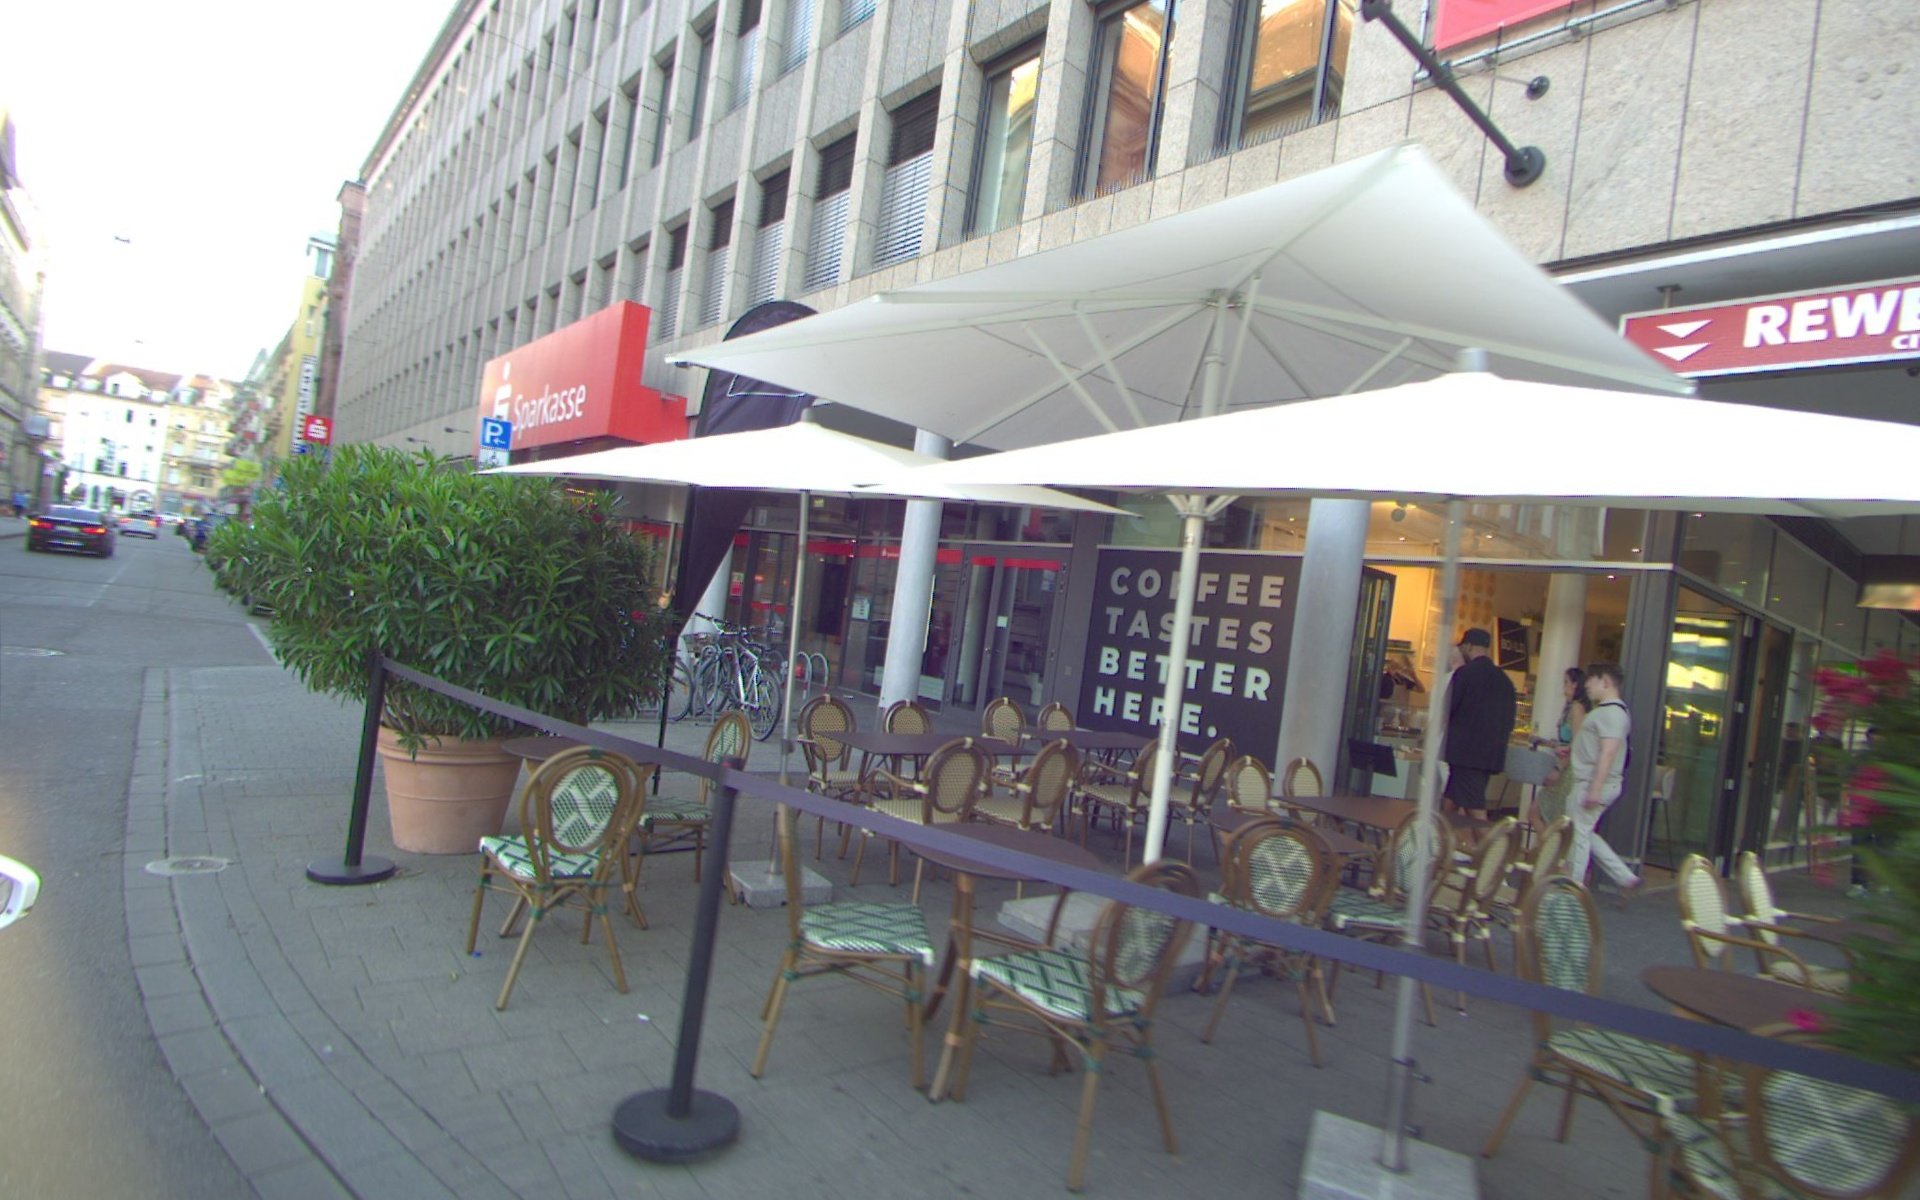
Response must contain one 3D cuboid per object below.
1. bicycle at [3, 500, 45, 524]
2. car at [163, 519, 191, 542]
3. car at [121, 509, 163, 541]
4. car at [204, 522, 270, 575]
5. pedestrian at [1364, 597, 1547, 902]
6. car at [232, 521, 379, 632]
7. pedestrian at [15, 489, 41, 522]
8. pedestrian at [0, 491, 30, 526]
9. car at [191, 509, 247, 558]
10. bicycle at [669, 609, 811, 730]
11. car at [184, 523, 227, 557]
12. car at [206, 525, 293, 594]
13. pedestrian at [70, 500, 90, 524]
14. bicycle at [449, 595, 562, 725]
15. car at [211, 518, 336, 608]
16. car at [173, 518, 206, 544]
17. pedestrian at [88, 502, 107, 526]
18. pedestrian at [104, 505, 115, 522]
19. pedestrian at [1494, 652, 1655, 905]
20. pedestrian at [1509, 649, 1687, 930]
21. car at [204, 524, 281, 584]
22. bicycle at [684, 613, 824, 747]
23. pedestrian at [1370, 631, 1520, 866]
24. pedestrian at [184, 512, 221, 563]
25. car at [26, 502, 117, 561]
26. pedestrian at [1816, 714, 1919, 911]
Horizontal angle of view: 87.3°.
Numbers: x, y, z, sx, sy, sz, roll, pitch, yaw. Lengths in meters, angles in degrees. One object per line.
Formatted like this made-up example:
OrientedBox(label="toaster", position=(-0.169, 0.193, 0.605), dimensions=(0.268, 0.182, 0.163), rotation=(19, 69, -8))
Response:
OrientedBox(label="bicycle", position=(-56.338, -5.286, 60.564), dimensions=(1.675, 1.052, 0.482), rotation=(13, -4, -38))
OrientedBox(label="car", position=(-64.968, -5.779, 83.439), dimensions=(1.639, 1.539, 3.249), rotation=(11, -3, -39))
OrientedBox(label="car", position=(-49.019, -4.495, 60.292), dimensions=(1.788, 1.528, 3.956), rotation=(9, -2, -40))
OrientedBox(label="car", position=(-26.640, -1.916, 37.023), dimensions=(1.639, 1.539, 3.249), rotation=(11, -3, -39))
OrientedBox(label="pedestrian", position=(3.606, 1.062, 7.329), dimensions=(0.777, 2.038, 0.681), rotation=(8, 1, -38))
OrientedBox(label="car", position=(-12.693, -0.506, 19.405), dimensions=(1.764, 1.654, 4.008), rotation=(11, -3, -39))
OrientedBox(label="pedestrian", position=(-55.874, -5.654, 60.313), dimensions=(0.805, 1.770, 0.926), rotation=(12, -4, -40))
OrientedBox(label="pedestrian", position=(-50.259, -4.834, 53.457), dimensions=(0.931, 1.653, 0.647), rotation=(12, -4, -41))
OrientedBox(label="car", position=(-36.836, -3.310, 49.969), dimensions=(1.864, 2.040, 3.725), rotation=(11, -3, -39))
OrientedBox(label="bicycle", position=(-2.524, 0.760, 11.406), dimensions=(1.788, 1.131, 0.544), rotation=(6, 0, 43))
OrientedBox(label="car", position=(-41.705, -3.326, 55.598), dimensions=(1.639, 1.539, 3.249), rotation=(11, -3, -39))
OrientedBox(label="car", position=(-19.960, -1.172, 28.215), dimensions=(1.639, 1.539, 3.249), rotation=(11, -3, -39))
OrientedBox(label="pedestrian", position=(-72.702, -7.293, 83.121), dimensions=(0.932, 1.770, 0.800), rotation=(12, -4, -42))
OrientedBox(label="bicycle", position=(-4.449, 0.554, 9.787), dimensions=(0.556, 1.054, 1.667), rotation=(6, 0, -37))
OrientedBox(label="car", position=(-16.341, -0.910, 23.877), dimensions=(1.766, 1.654, 4.042), rotation=(11, -3, -42))
OrientedBox(label="car", position=(-55.858, -5.018, 72.948), dimensions=(1.639, 1.539, 3.249), rotation=(11, -3, -39))
OrientedBox(label="pedestrian", position=(-72.129, -7.182, 84.094), dimensions=(0.932, 1.770, 0.800), rotation=(12, -4, -42))
OrientedBox(label="pedestrian", position=(-95.738, -9.779, 113.226), dimensions=(0.664, 1.770, 0.673), rotation=(12, -4, -42))
OrientedBox(label="pedestrian", position=(4.828, 1.381, 7.911), dimensions=(0.714, 1.808, 0.658), rotation=(8, 1, -38))
OrientedBox(label="pedestrian", position=(4.530, 1.315, 7.149), dimensions=(0.714, 1.808, 0.658), rotation=(8, 1, -38))
OrientedBox(label="car", position=(-23.076, -1.507, 32.324), dimensions=(1.639, 1.539, 3.249), rotation=(11, -3, -39))
OrientedBox(label="bicycle", position=(-2.153, 0.792, 10.347), dimensions=(0.542, 1.131, 1.793), rotation=(6, 0, -39))
OrientedBox(label="pedestrian", position=(4.165, 1.268, 8.657), dimensions=(0.712, 1.871, 0.659), rotation=(8, 1, -33))
OrientedBox(label="pedestrian", position=(-28.604, -2.341, 38.019), dimensions=(0.716, 1.812, 0.820), rotation=(8, 0, -19))
OrientedBox(label="car", position=(-26.549, -2.048, 30.162), dimensions=(1.762, 1.426, 4.008), rotation=(8, -1, -39))
OrientedBox(label="pedestrian", position=(8.845, 2.032, 9.735), dimensions=(0.613, 1.752, 0.565), rotation=(8, 1, -40))
